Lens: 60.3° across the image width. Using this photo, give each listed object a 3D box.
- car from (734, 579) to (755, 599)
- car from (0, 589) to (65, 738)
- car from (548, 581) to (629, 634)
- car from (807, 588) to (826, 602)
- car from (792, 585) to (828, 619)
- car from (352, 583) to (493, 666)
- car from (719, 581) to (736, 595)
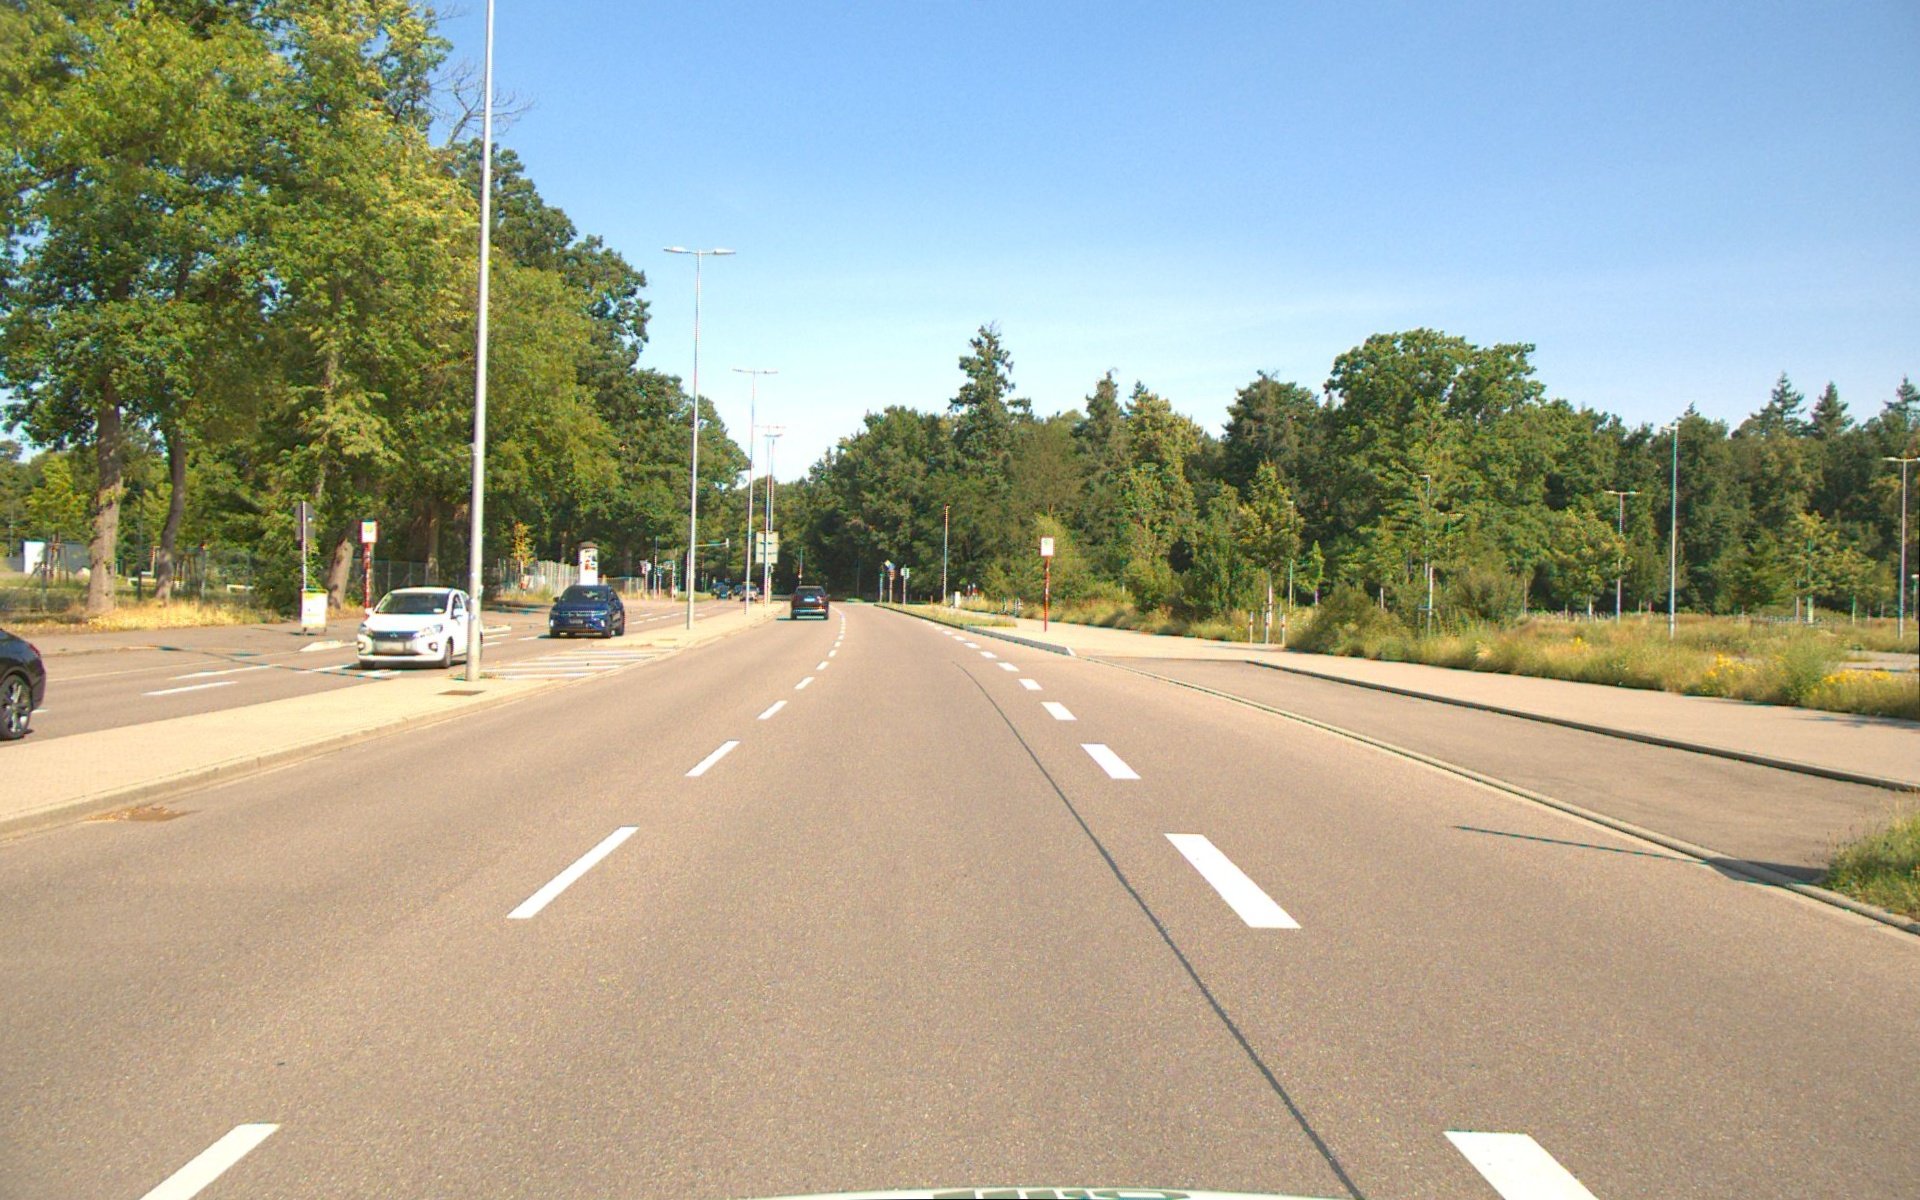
[{"bbox_3d":[-21.821,-1.100,167.507,1.805,1.966,4.625,0,0,-5],"label":"car"},{"bbox_3d":[-9.969,0.626,14.714,1.774,1.412,4.161,-1,1,-1],"label":"car"},{"bbox_3d":[-11.157,0.213,49.942,1.718,1.512,3.945,-1,0,-3],"label":"car"},{"bbox_3d":[-16.045,-0.577,185.163,1.904,1.445,4.286,1,1,-8],"label":"car"},{"bbox_3d":[-7.187,0.073,78.863,1.655,1.571,4.143,0,1,-6],"label":"car"},{"bbox_3d":[-10.315,0.430,32.013,1.590,1.492,3.799,-1,0,-2],"label":"car"},{"bbox_3d":[-26.567,-1.377,189.089,1.760,1.504,3.994,2,0,-7],"label":"car"}]
